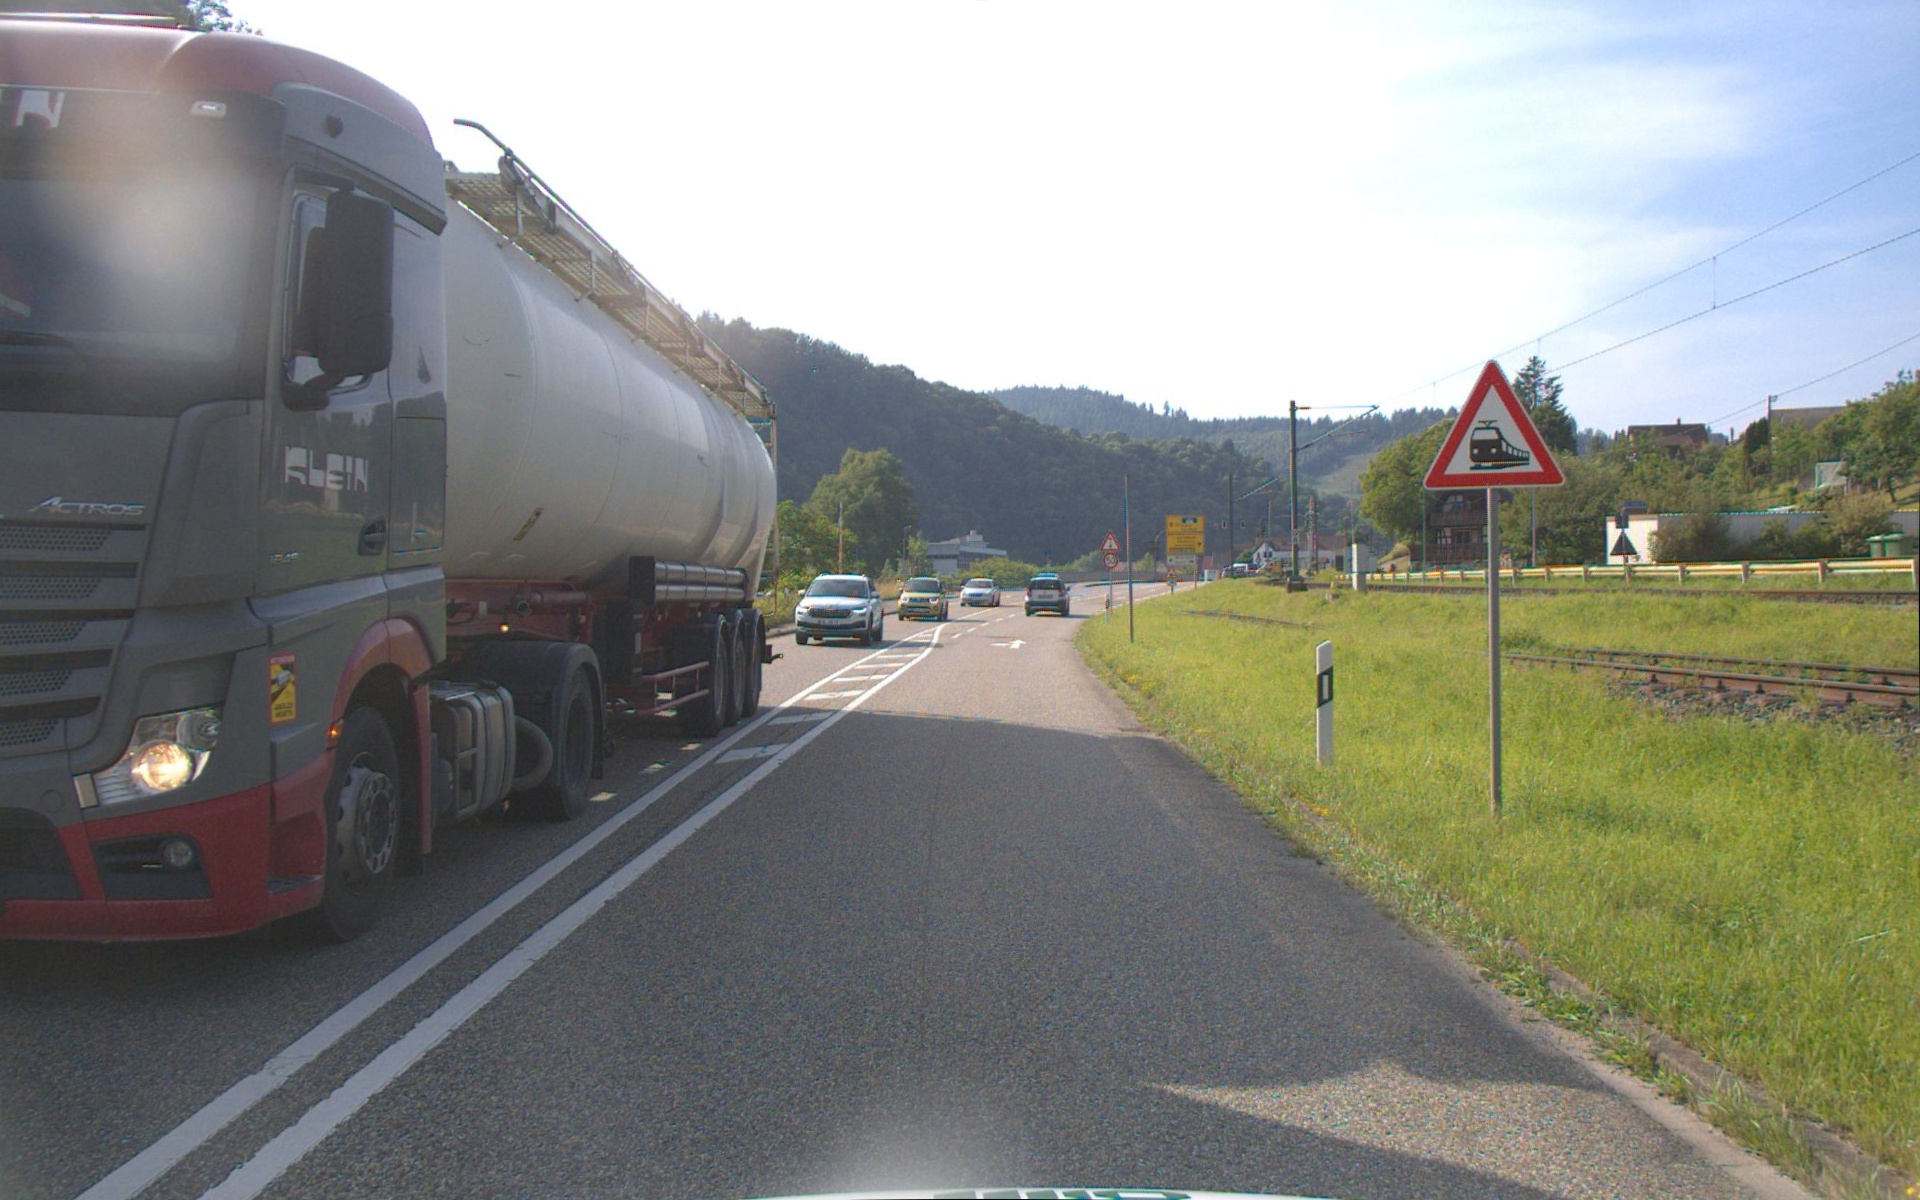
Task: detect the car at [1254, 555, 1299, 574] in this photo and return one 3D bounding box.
[{"bbox_3d":[39.239,-4.345,204.948,5.168,2.048,2.001,-3,1,18],"label":"car"}]

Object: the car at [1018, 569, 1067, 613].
[{"bbox_3d":[3.529,-0.411,71.560,1.952,1.753,3.991,-3,0,2],"label":"car"}]

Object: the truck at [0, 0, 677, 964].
[{"bbox_3d":[-3.650,-0.767,9.668,2.694,3.902,8.197,0,1,-1],"label":"truck"}]

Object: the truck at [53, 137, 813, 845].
[{"bbox_3d":[-3.569,-0.682,16.427,2.693,3.902,14.563,0,1,1],"label":"truck"}]

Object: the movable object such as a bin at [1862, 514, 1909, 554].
[{"bbox_3d":[25.348,-1.805,45.314,0.790,1.068,0.912,1,1,4],"label":"movable object such as a bin"}]

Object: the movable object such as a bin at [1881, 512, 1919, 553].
[{"bbox_3d":[25.301,-1.793,44.299,0.790,1.068,0.912,1,1,4],"label":"movable object such as a bin"}]

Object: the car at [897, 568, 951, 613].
[{"bbox_3d":[-1.344,-0.376,62.444,1.687,1.653,3.798,1,1,4],"label":"car"}]

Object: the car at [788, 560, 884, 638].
[{"bbox_3d":[-3.014,-0.044,41.045,1.952,1.789,4.470,1,0,1],"label":"car"}]

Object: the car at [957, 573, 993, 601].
[{"bbox_3d":[0.809,-0.698,86.721,1.741,1.371,4.512,1,1,2],"label":"car"}]
